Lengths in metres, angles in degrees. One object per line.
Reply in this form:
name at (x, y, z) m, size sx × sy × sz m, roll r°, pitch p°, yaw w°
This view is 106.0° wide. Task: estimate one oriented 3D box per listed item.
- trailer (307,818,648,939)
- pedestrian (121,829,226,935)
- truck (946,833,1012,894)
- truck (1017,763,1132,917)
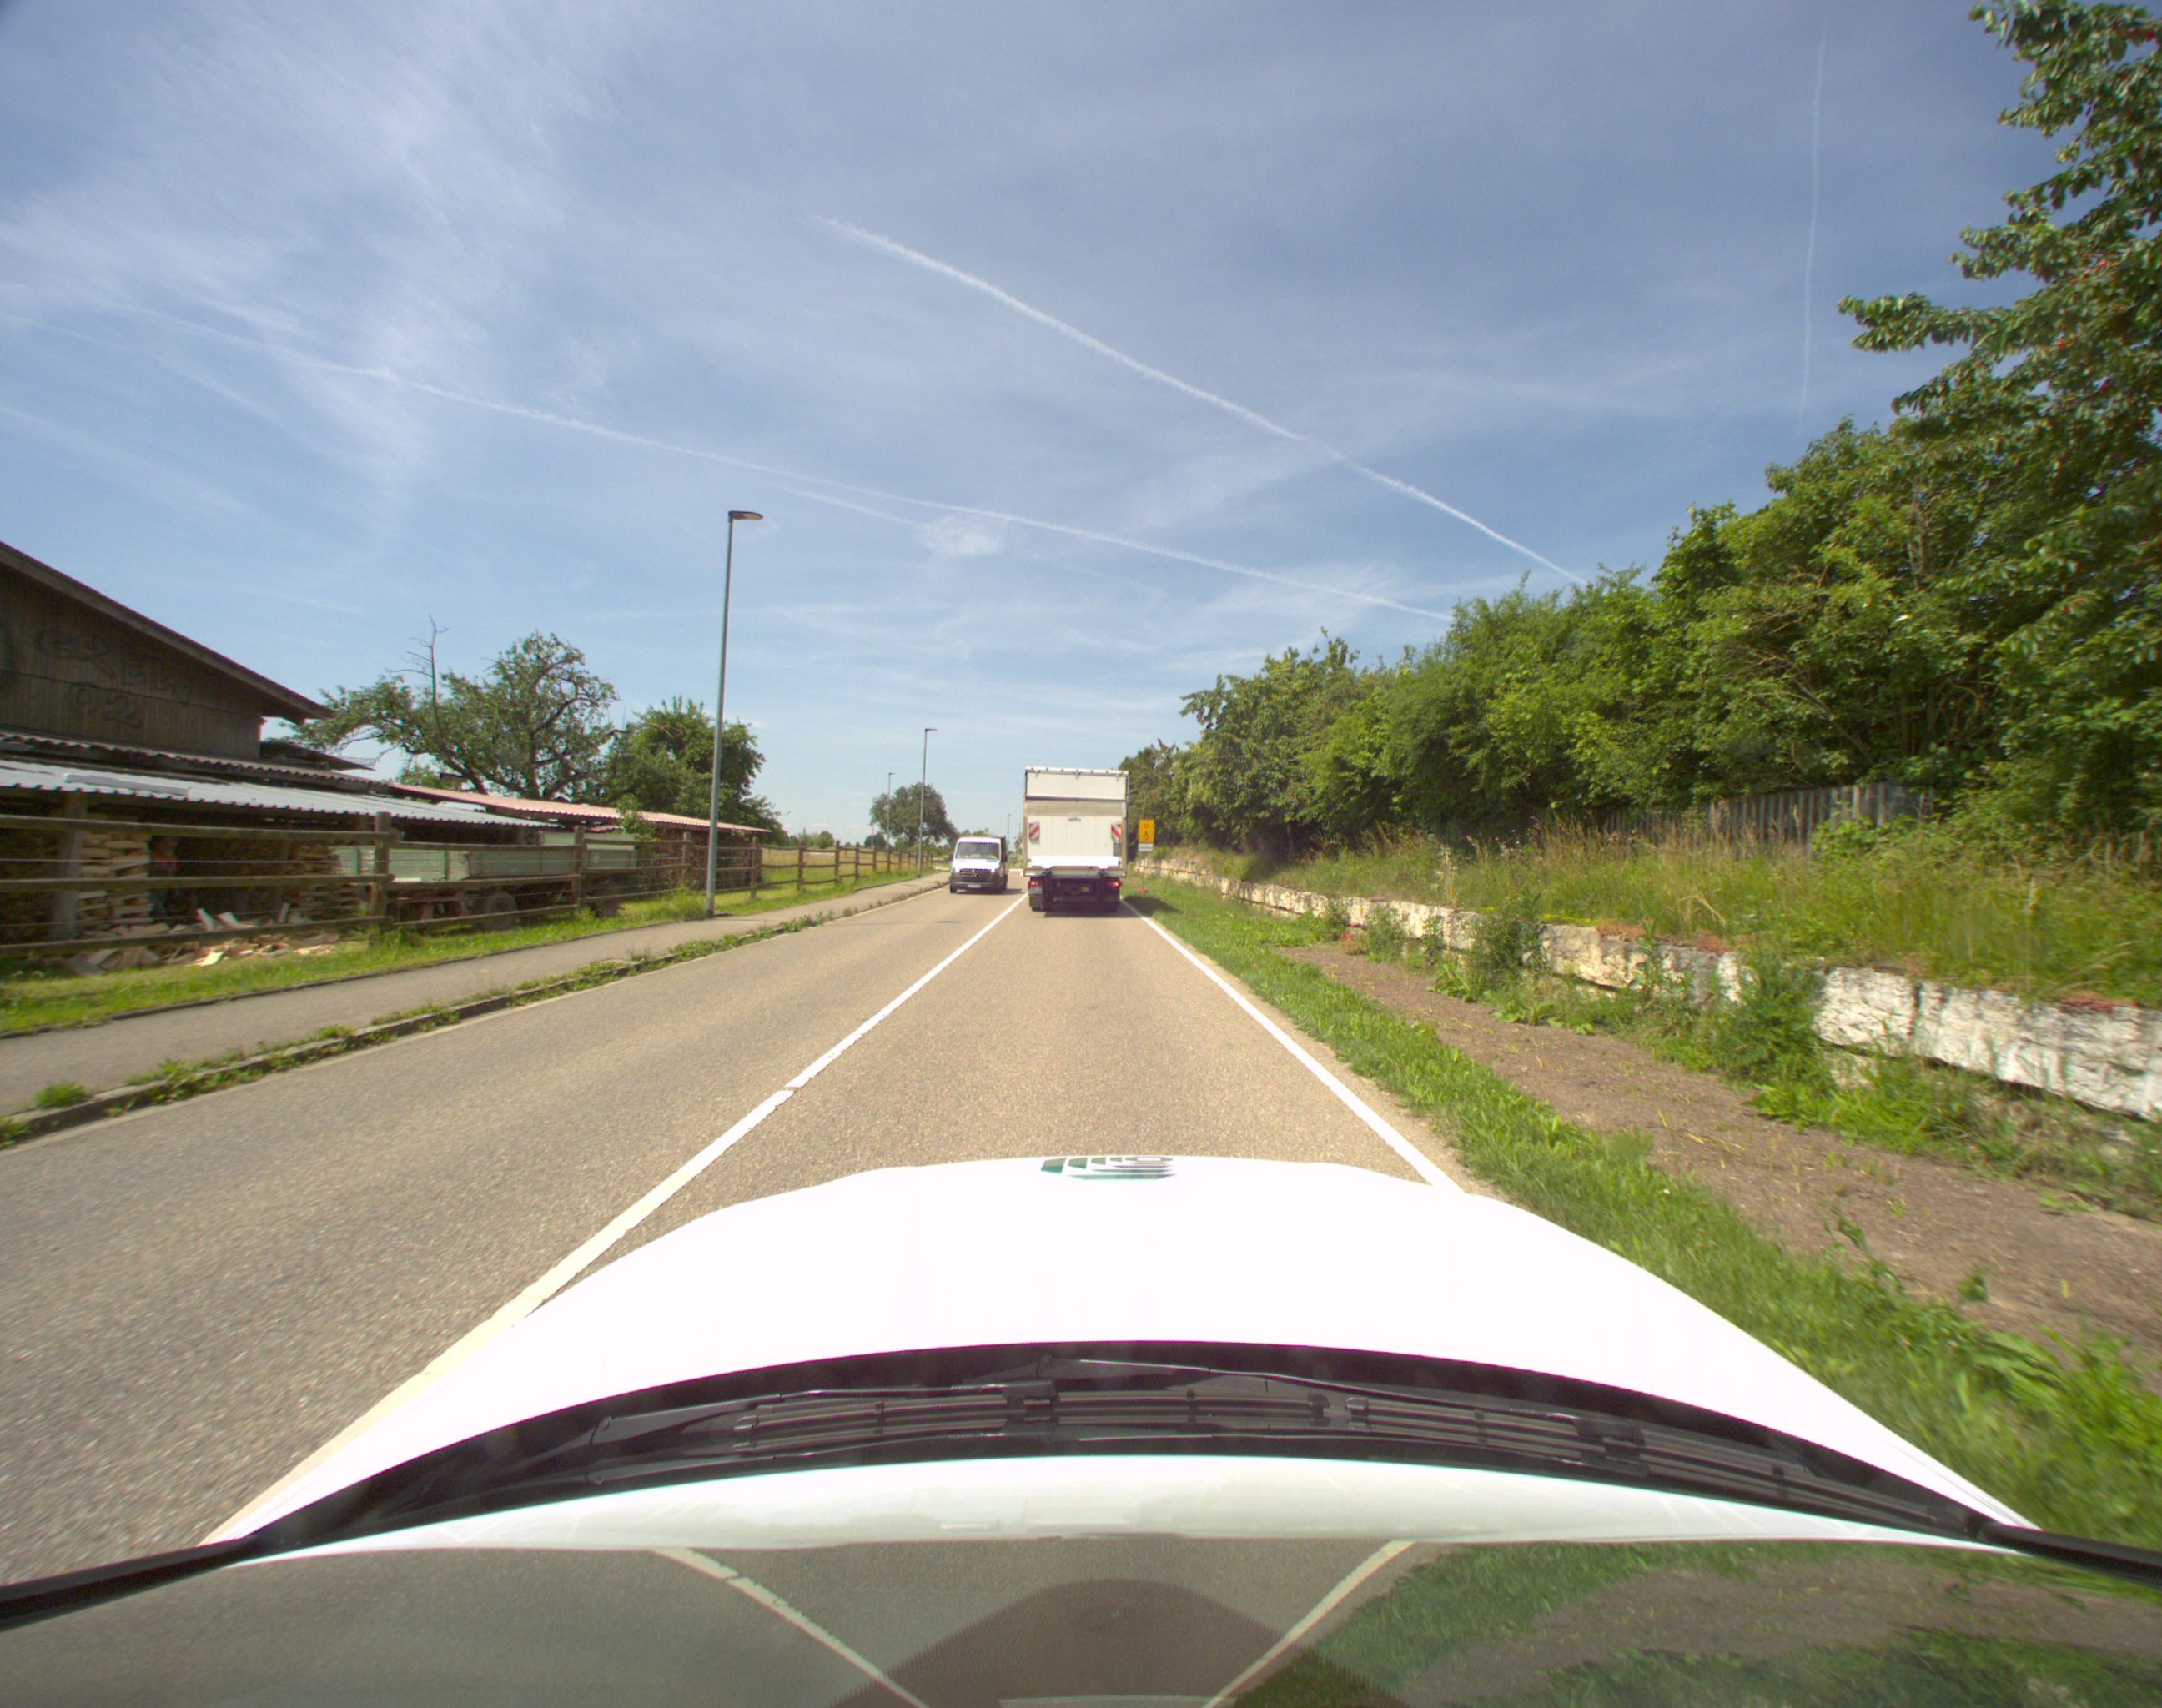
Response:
trailer at (-9.899, 0.353, 14.071) m, size 2.148 × 1.703 × 5.027 m, roll 0°, pitch 0°, yaw -1°
pedestrian at (-12.631, 0.376, 11.354) m, size 0.583 × 1.407 × 0.745 m, roll 1°, pitch 0°, yaw 6°
truck at (-4.120, 0.379, 34.083) m, size 2.217 × 2.293 × 6.485 m, roll 0°, pitch 0°, yaw -3°
truck at (-0.267, -0.328, 24.171) m, size 2.759 × 3.671 × 9.376 m, roll 0°, pitch 0°, yaw -2°
